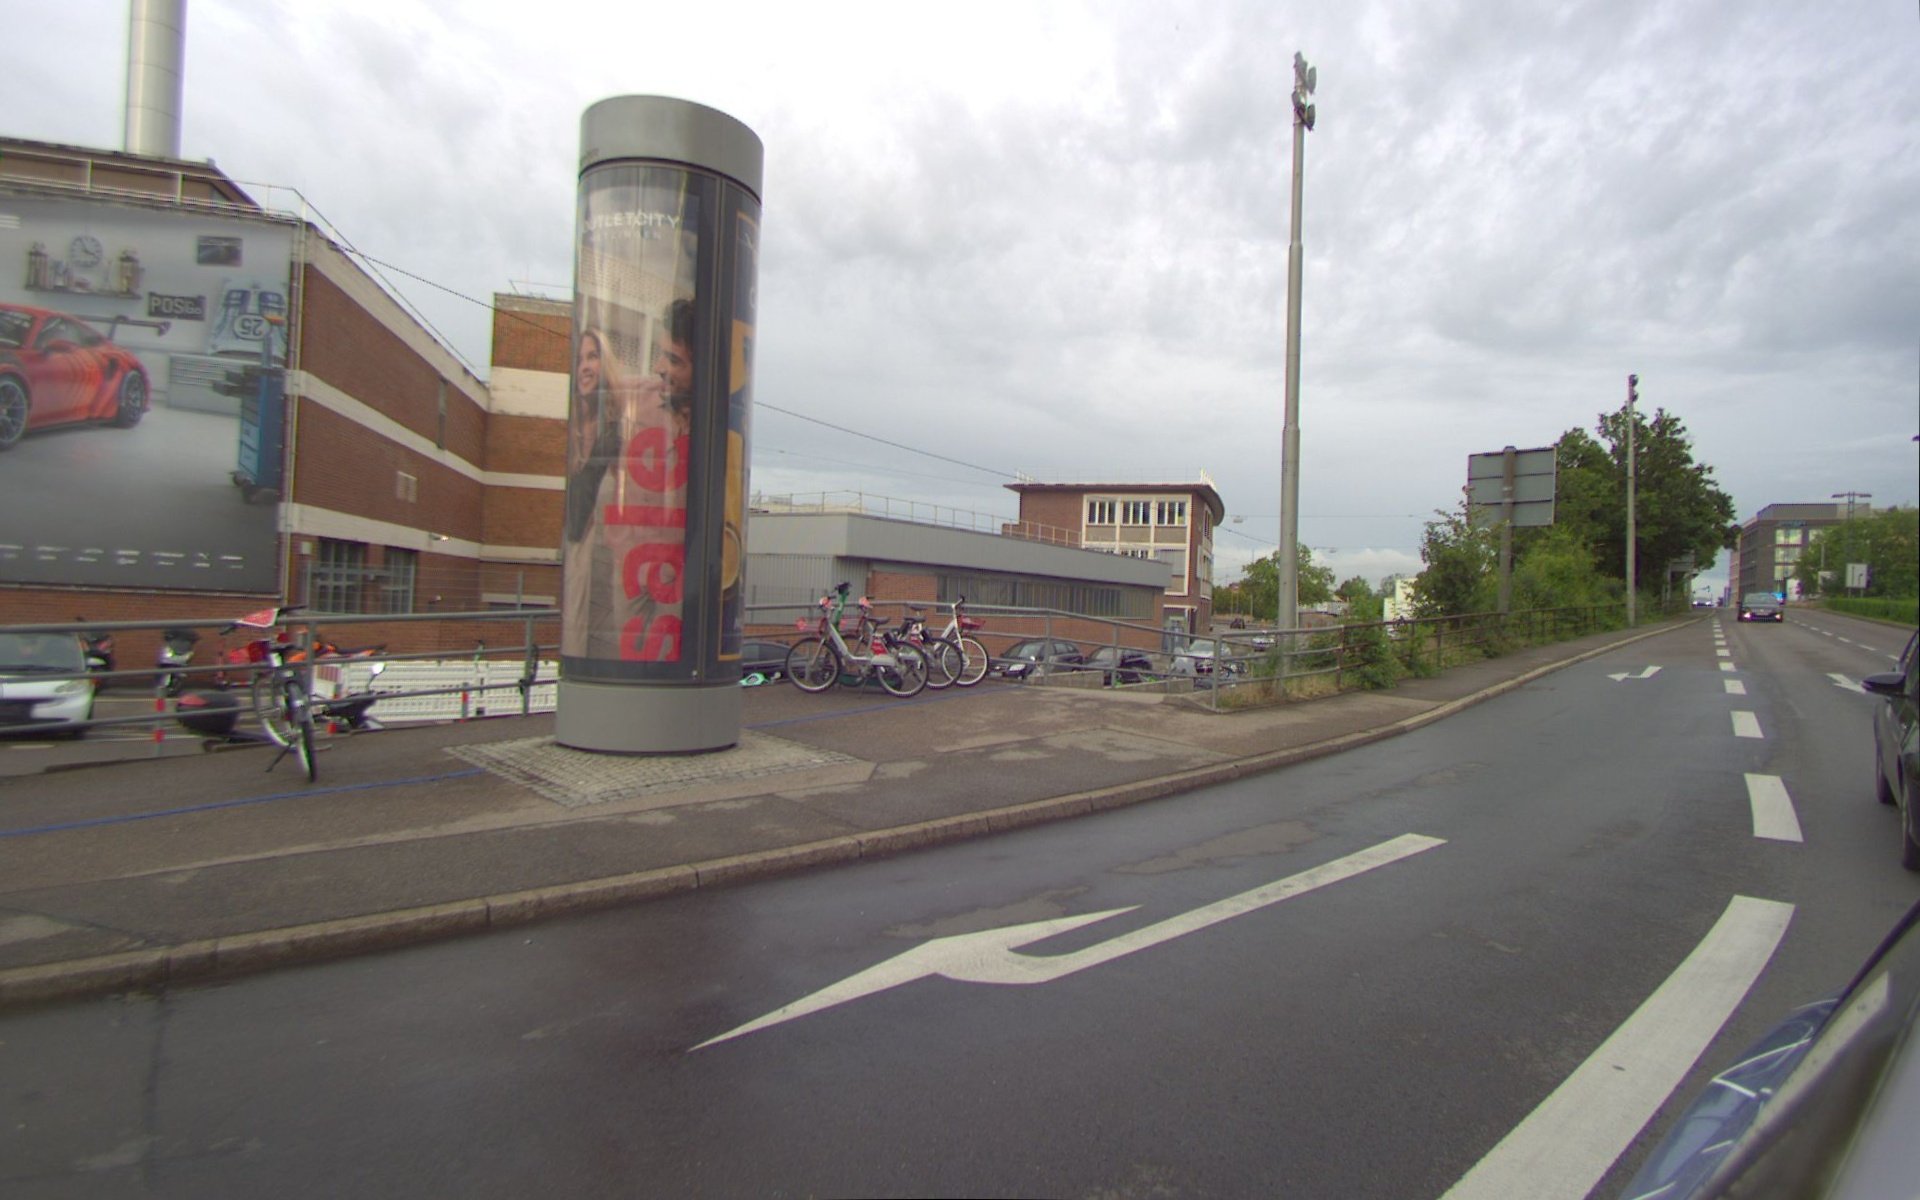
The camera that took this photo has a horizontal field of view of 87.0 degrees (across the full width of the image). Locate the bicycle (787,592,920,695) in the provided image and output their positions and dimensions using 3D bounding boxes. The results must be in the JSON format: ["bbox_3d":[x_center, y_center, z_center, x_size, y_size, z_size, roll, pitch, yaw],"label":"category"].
[{"bbox_3d":[-1.222,0.487,11.648,1.438,1.087,0.442,2,2,9],"label":"bicycle"}]

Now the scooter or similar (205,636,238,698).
[{"bbox_3d":[-14.638,1.300,20.077,0.495,1.110,1.639,-1,0,-35],"label":"scooter or similar"}]

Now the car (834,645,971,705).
[{"bbox_3d":[-1.583,2.091,28.926,1.712,1.444,3.943,1,-1,39],"label":"car"}]

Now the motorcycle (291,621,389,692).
[{"bbox_3d":[-12.794,1.145,20.921,0.521,1.350,1.646,-1,0,38],"label":"motorcycle"}]

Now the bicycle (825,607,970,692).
[{"bbox_3d":[-0.736,0.581,12.118,1.673,0.933,0.486,1,1,4],"label":"bicycle"}]

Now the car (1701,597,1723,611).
[{"bbox_3d":[90.374,0.516,121.702,1.805,1.457,4.250,2,0,33],"label":"car"}]

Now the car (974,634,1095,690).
[{"bbox_3d":[2.588,2.049,34.332,1.777,1.688,4.438,1,-1,41],"label":"car"}]

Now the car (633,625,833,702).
[{"bbox_3d":[-5.283,1.421,24.073,1.880,1.570,4.445,1,-1,38],"label":"car"}]

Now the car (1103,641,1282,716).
[{"bbox_3d":[5.392,1.787,23.932,1.688,1.444,3.999,2,-1,-36],"label":"car"}]

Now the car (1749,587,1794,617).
[{"bbox_3d":[41.901,0.074,52.240,1.741,1.493,4.011,0,1,39],"label":"car"}]

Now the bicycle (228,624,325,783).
[{"bbox_3d":[-4.832,0.670,7.117,0.414,0.933,1.615,1,0,-39],"label":"bicycle"}]

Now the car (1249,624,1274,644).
[{"bbox_3d":[22.800,2.553,76.508,1.698,1.444,3.976,1,0,18],"label":"car"}]

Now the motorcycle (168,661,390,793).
[{"bbox_3d":[-5.735,1.031,8.601,0.400,0.901,1.521,1,1,36],"label":"motorcycle"}]

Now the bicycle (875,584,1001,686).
[{"bbox_3d":[-0.282,0.420,12.838,1.527,1.169,0.448,3,3,22],"label":"bicycle"}]

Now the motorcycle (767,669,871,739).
[{"bbox_3d":[-2.126,1.543,15.194,1.600,0.933,0.417,0,0,27],"label":"motorcycle"}]

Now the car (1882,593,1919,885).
[{"bbox_3d":[6.776,0.733,6.067,1.687,1.526,3.953,0,1,40],"label":"car"}]

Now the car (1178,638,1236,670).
[{"bbox_3d":[12.414,2.677,50.696,1.720,1.406,3.955,1,-1,31],"label":"car"}]

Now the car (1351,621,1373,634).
[{"bbox_3d":[44.960,3.062,113.225,1.695,1.444,3.982,1,0,14],"label":"car"}]

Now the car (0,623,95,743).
[{"bbox_3d":[-14.089,1.149,15.186,1.541,1.508,3.992,2,-1,-42],"label":"car"}]

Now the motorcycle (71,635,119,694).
[{"bbox_3d":[-16.213,1.181,18.997,0.531,0.985,1.616,-1,0,-35],"label":"motorcycle"}]

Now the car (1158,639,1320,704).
[{"bbox_3d":[7.369,1.843,27.053,1.688,1.444,3.999,2,-1,-36],"label":"car"}]

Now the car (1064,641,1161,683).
[{"bbox_3d":[5.931,2.343,39.004,1.713,1.422,4.211,1,-1,41],"label":"car"}]

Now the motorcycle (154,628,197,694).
[{"bbox_3d":[-15.228,1.159,19.671,0.574,1.166,1.720,-1,0,-35],"label":"motorcycle"}]
